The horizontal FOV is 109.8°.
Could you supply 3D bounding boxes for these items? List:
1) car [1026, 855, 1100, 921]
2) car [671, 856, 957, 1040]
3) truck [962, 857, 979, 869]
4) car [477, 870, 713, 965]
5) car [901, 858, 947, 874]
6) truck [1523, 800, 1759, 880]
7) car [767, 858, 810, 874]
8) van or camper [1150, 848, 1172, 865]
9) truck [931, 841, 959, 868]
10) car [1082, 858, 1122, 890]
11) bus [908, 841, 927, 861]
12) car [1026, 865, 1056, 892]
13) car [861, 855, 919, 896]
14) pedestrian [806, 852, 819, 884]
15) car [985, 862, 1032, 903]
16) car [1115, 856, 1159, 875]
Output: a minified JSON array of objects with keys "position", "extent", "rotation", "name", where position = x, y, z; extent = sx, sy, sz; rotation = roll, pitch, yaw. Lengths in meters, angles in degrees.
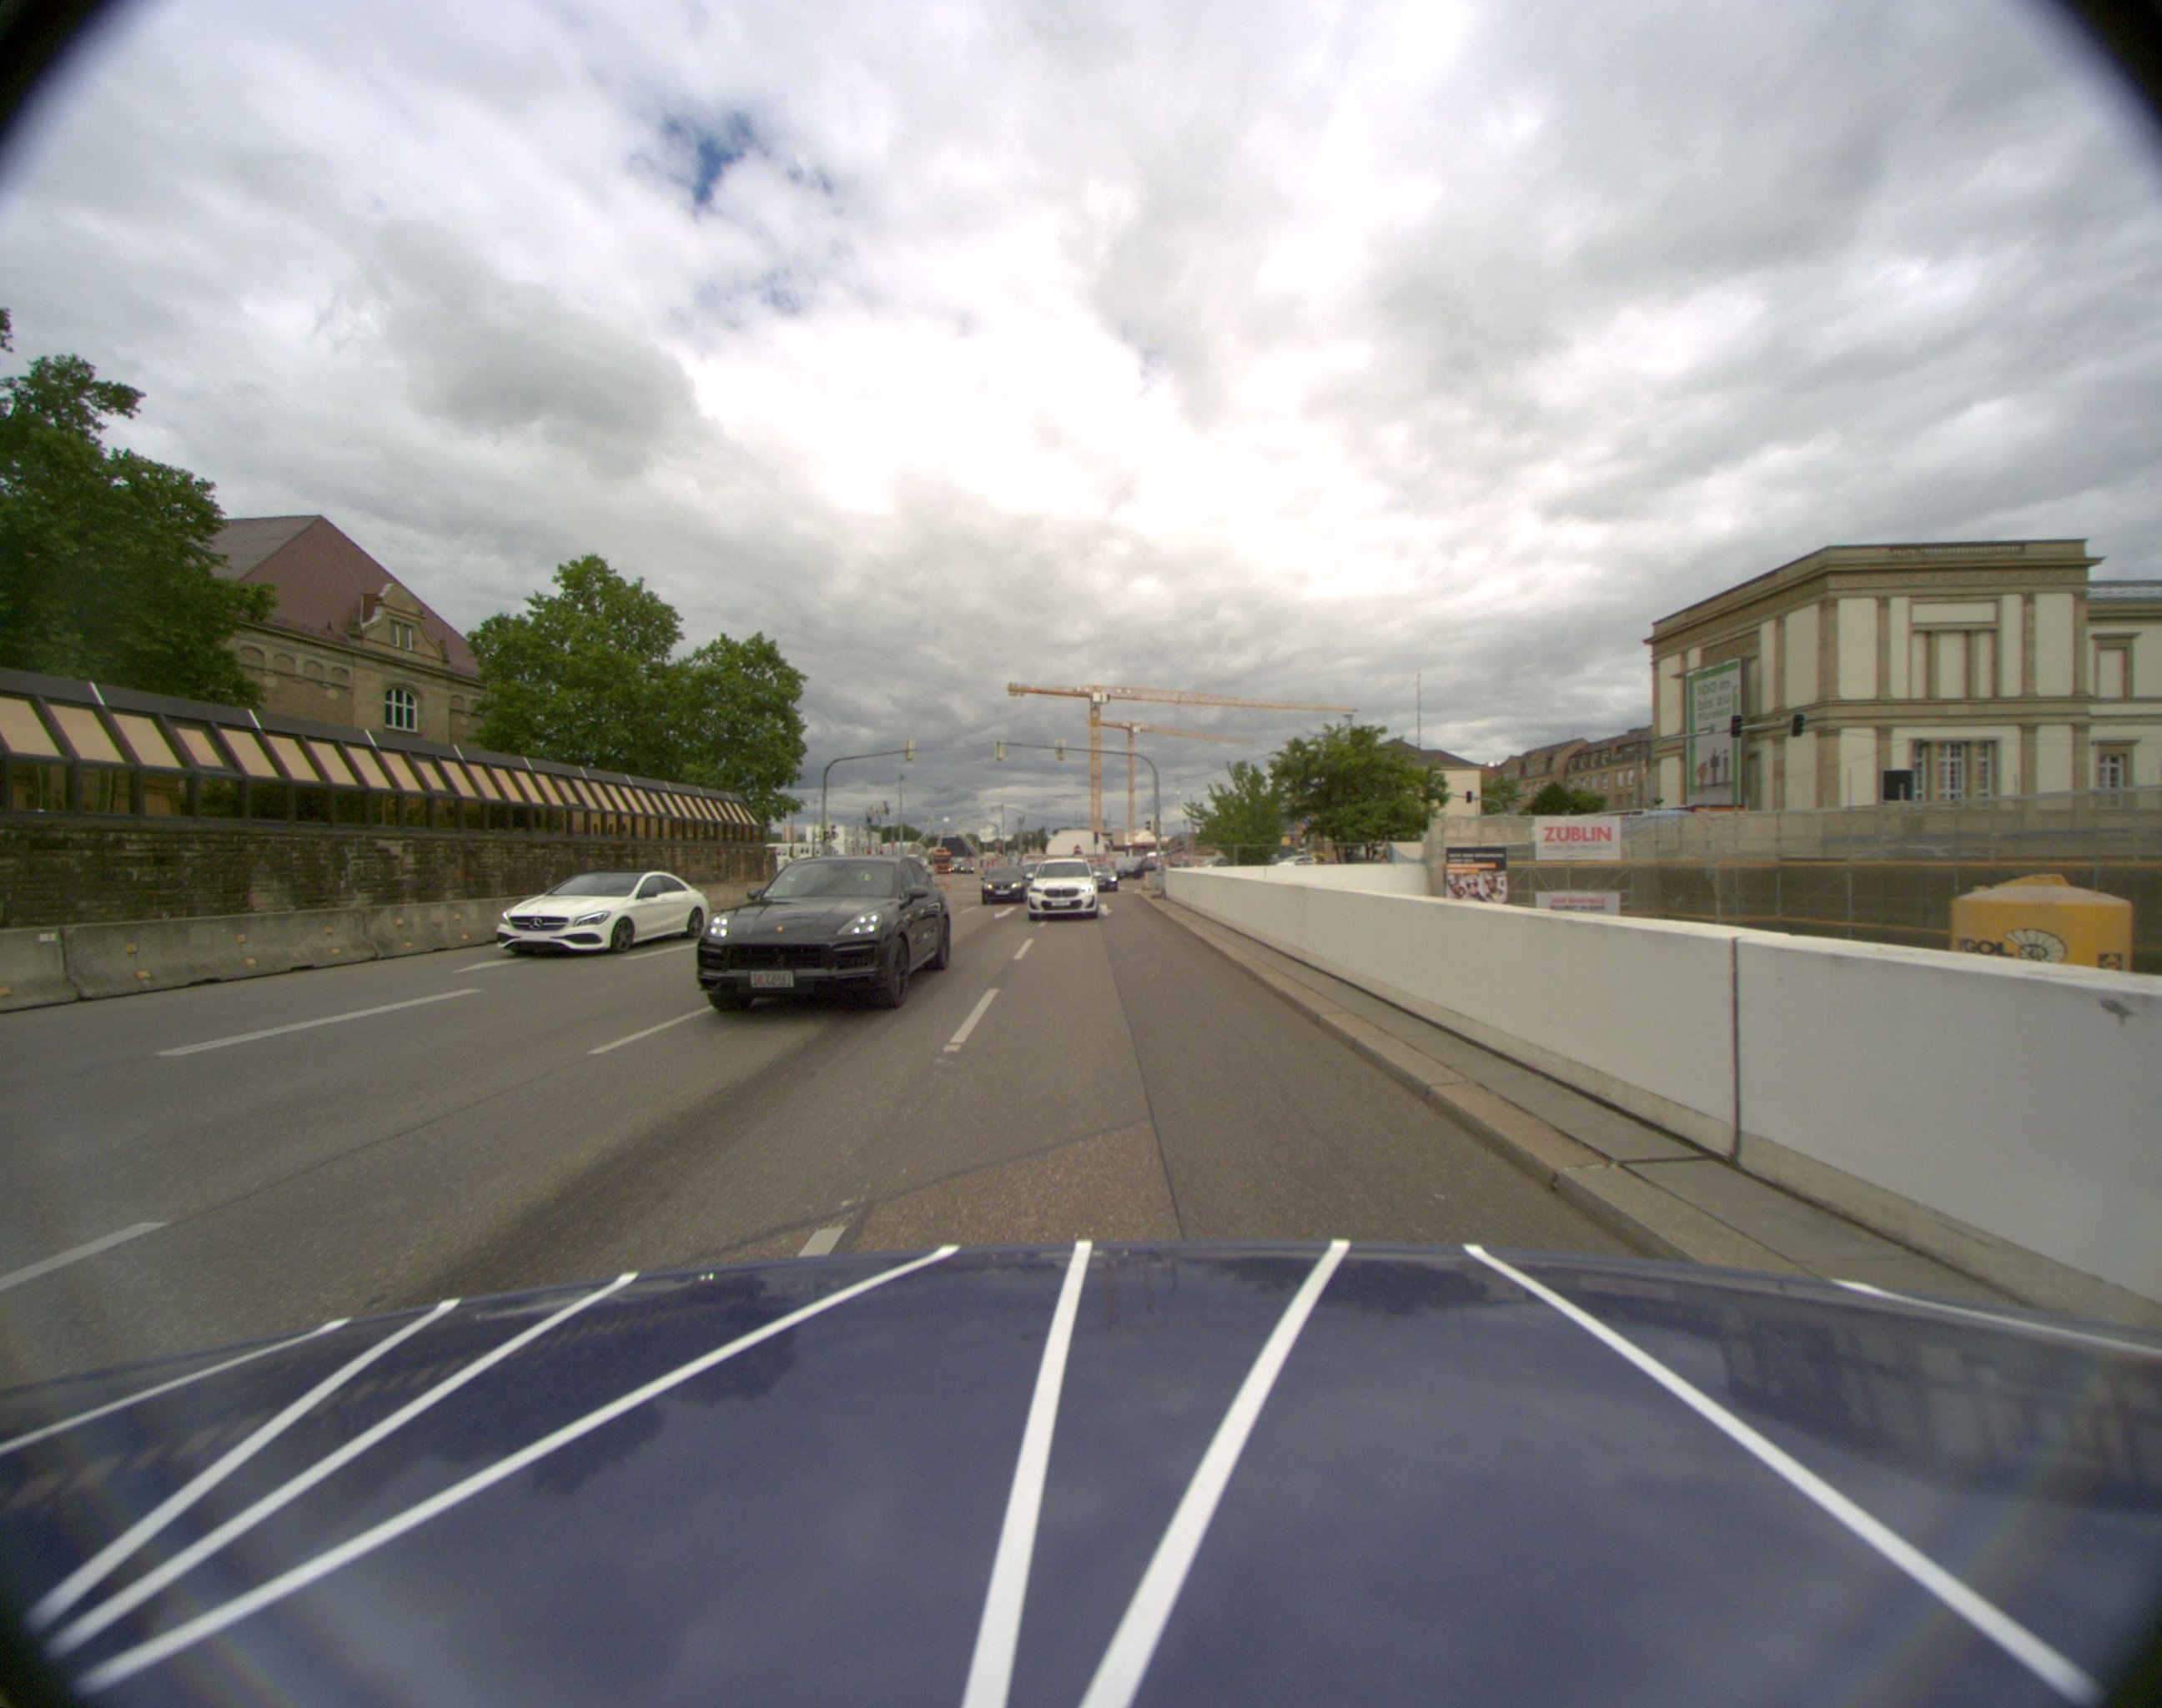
[{"position":[-0.438,0.874,21.109],"extent":[1.812,1.595,3.713],"rotation":[-2,0,1],"name":"car"},{"position":[-2.879,0.891,9.422],"extent":[1.956,1.638,4.607],"rotation":[1,1,-1],"name":"car"},{"position":[-15.048,1.198,103.324],"extent":[1.827,1.531,3.756],"rotation":[-1,0,-14],"name":"truck"},{"position":[-8.657,1.043,14.078],"extent":[1.739,1.427,4.380],"rotation":[0,0,-3],"name":"car"},{"position":[-17.380,1.310,84.180],"extent":[4.681,1.569,1.910],"rotation":[-2,1,-5],"name":"car"},{"position":[33.317,-0.724,46.958],"extent":[2.924,4.059,16.616],"rotation":[1,0,3],"name":"truck"},{"position":[-32.008,1.318,83.234],"extent":[3.954,1.564,1.692],"rotation":[-2,-1,-7],"name":"car"},{"position":[10.892,0.295,103.584],"extent":[1.995,2.215,4.005],"rotation":[0,2,22],"name":"van or camper"},{"position":[-18.866,0.034,105.040],"extent":[2.913,3.654,9.013],"rotation":[-1,1,-16],"name":"truck"},{"position":[1.119,0.981,38.368],"extent":[1.852,1.412,4.106],"rotation":[-2,0,3],"name":"car"},{"position":[-27.298,-0.470,127.116],"extent":[2.814,3.150,9.394],"rotation":[0,-1,-10],"name":"bus"},{"position":[-2.287,1.383,43.392],"extent":[1.577,1.411,3.569],"rotation":[0,1,-3],"name":"car"},{"position":[-9.449,1.023,37.868],"extent":[1.937,1.926,3.673],"rotation":[1,0,0],"name":"car"},{"position":[-17.347,0.898,49.044],"extent":[0.623,2.002,0.849],"rotation":[-2,1,-26],"name":"pedestrian"},{"position":[-2.846,1.085,30.580],"extent":[1.733,1.461,4.417],"rotation":[0,1,-4],"name":"car"},{"position":[4.491,0.911,60.613],"extent":[1.872,1.412,4.112],"rotation":[-2,0,30],"name":"car"}]
